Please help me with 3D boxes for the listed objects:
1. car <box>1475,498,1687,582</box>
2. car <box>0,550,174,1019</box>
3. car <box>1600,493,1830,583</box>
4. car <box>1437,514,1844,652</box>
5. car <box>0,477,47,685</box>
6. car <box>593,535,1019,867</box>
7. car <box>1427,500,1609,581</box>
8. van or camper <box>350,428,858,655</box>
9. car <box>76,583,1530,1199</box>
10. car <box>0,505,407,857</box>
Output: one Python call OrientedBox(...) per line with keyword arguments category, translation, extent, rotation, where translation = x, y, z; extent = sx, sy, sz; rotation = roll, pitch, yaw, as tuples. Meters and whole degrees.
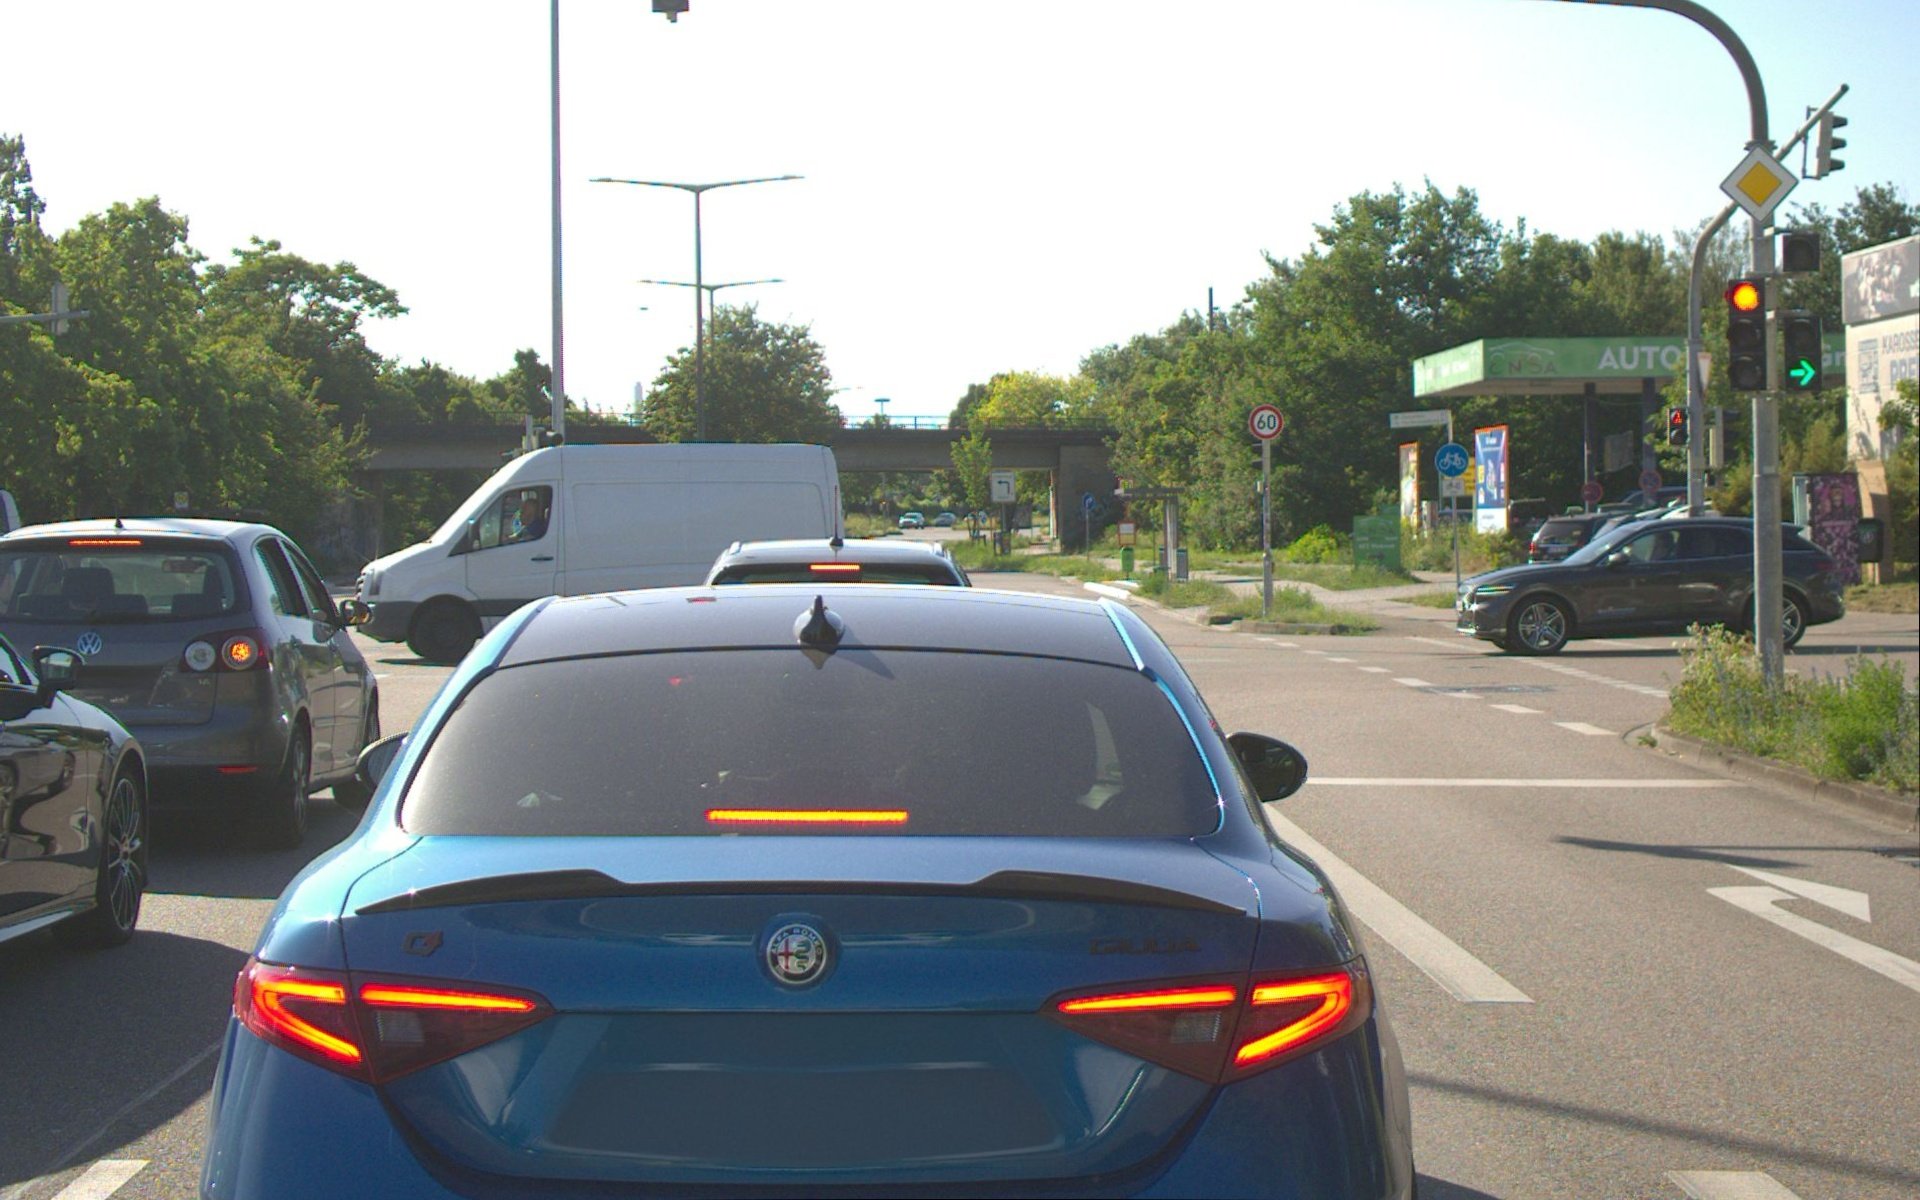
OrientedBox(category="car", translation=(12.819, -1.250, 70.955), extent=(3.986, 1.700, 1.696), rotation=(-1, 1, -19))
OrientedBox(category="car", translation=(-3.807, 0.568, 10.632), extent=(1.768, 1.409, 4.461), rotation=(0, 1, -1))
OrientedBox(category="car", translation=(14.509, -1.196, 66.099), extent=(3.986, 1.700, 1.696), rotation=(-1, 1, -16))
OrientedBox(category="car", translation=(8.331, -0.230, 42.379), extent=(4.598, 1.647, 2.000), rotation=(0, 1, -1))
OrientedBox(category="car", translation=(-11.233, -0.154, 32.241), extent=(1.998, 2.007, 5.016), rotation=(0, 1, 36))
OrientedBox(category="car", translation=(-0.701, 0.409, 17.070), extent=(1.866, 1.445, 3.932), rotation=(0, 1, -1))
OrientedBox(category="car", translation=(12.018, -1.287, 74.145), extent=(3.483, 1.700, 1.696), rotation=(-1, 1, -16))
OrientedBox(category="van or camper", translation=(-4.331, -0.720, 41.556), extent=(5.935, 2.641, 2.001), rotation=(0, 1, -11))
OrientedBox(category="car", translation=(-0.225, 0.695, 6.389), extent=(1.866, 1.380, 3.932), rotation=(0, 1, -1))
OrientedBox(category="car", translation=(-3.951, 0.327, 17.580), extent=(1.648, 1.593, 3.932), rotation=(0, 1, -1))
